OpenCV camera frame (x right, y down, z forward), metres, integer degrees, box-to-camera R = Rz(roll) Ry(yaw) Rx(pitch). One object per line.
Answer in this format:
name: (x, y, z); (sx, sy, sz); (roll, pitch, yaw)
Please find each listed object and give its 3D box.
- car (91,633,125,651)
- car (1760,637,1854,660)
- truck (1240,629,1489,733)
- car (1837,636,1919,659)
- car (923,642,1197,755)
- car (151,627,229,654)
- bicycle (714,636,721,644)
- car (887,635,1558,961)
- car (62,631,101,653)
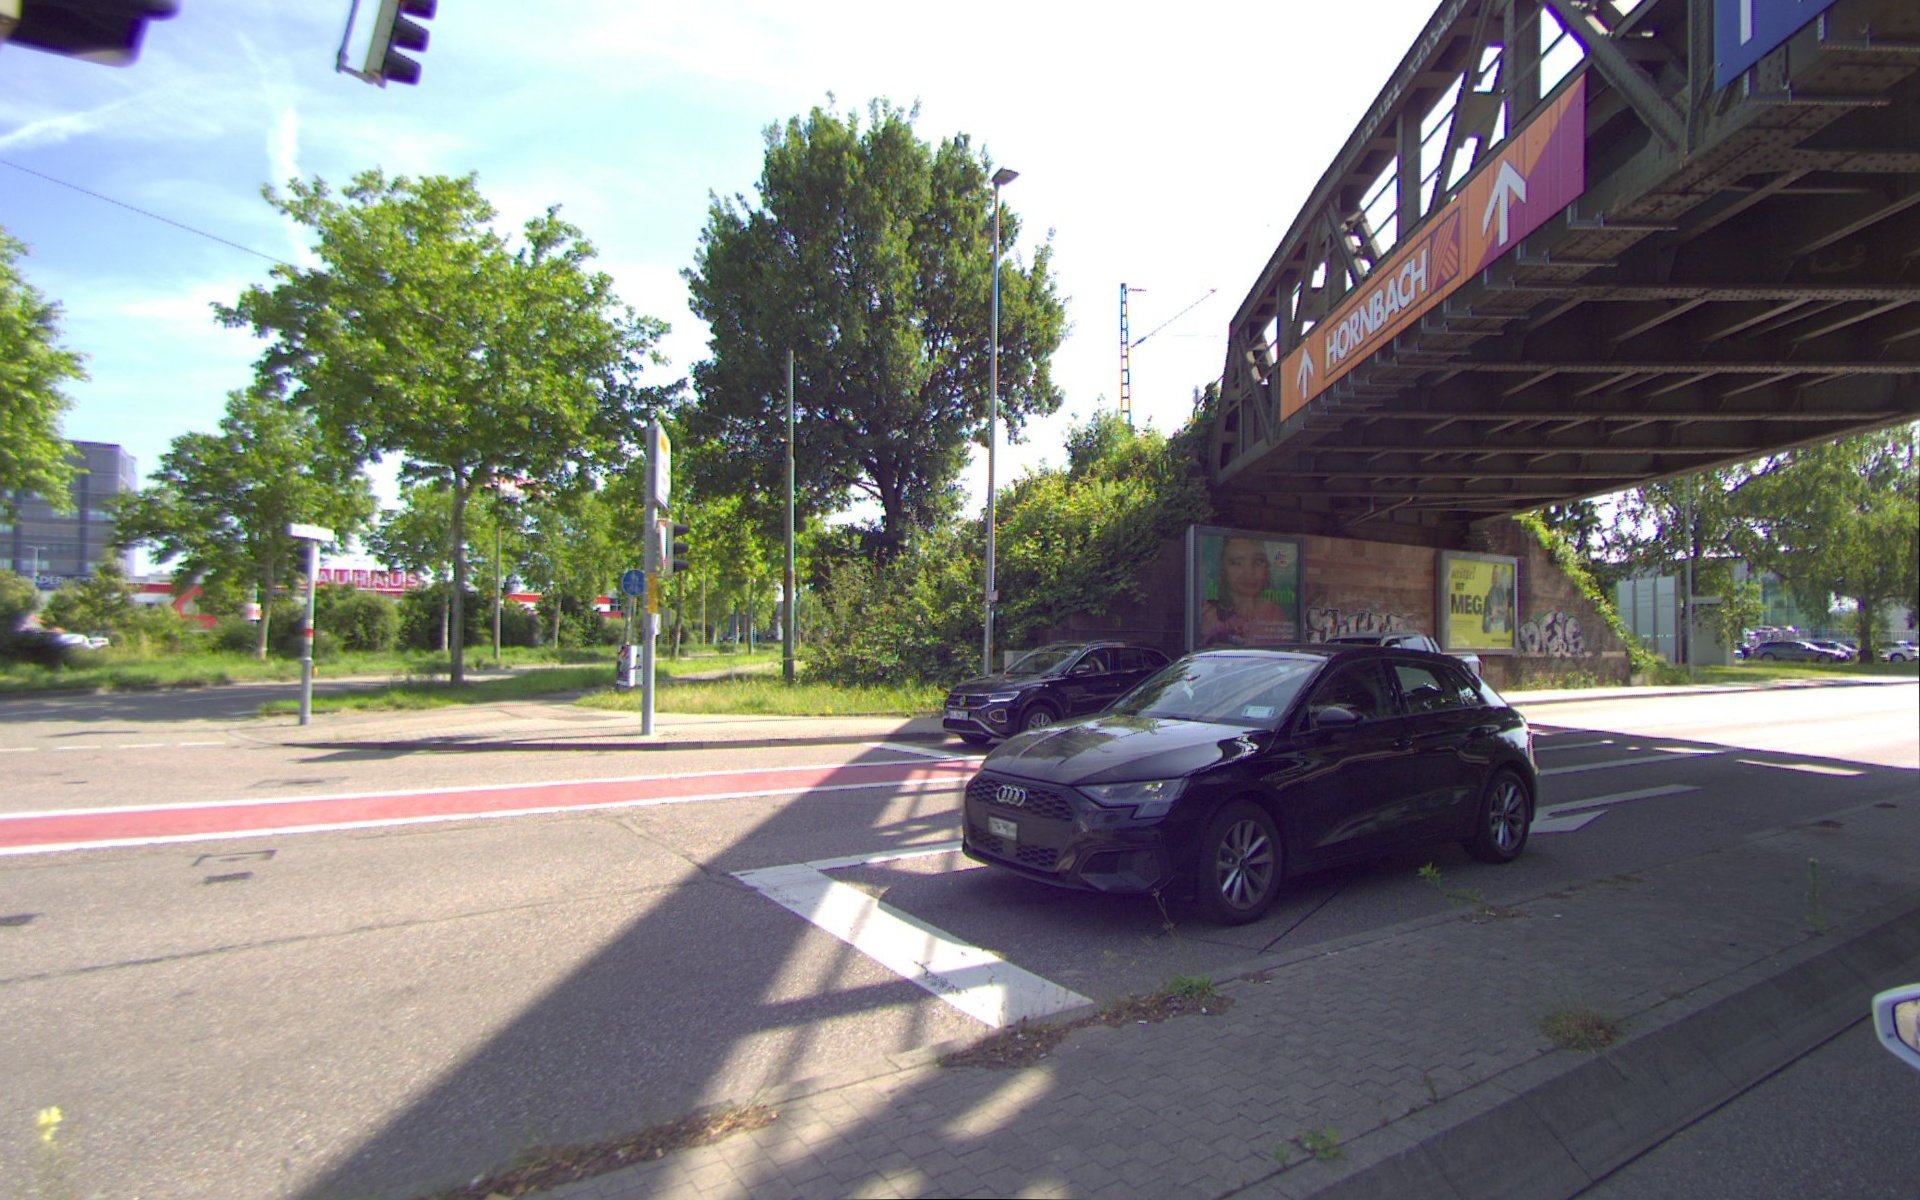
car: (-72.052, 3.502, 84.994); (1.673, 1.475, 3.962); (2, -2, -34)
car: (53.019, 3.026, 62.927); (1.983, 1.362, 4.204); (2, -2, -39)
truck: (8.209, 1.572, 20.198); (5.270, 1.843, 2.014); (2, -4, -34)
car: (65.552, 3.356, 71.738); (1.850, 1.567, 4.204); (2, -2, -39)
car: (1.561, 1.421, 15.286); (3.903, 1.500, 1.807); (2, -4, -34)
car: (-47.938, 2.505, 62.620); (3.827, 1.606, 1.830); (2, -2, -37)
bicycle: (-41.513, 6.858, 172.196); (0.674, 1.253, 1.935); (0, -2, 2)
car: (1.827, 0.955, 6.357); (4.291, 1.413, 1.755); (2, -3, -35)
car: (-65.528, 3.125, 74.984); (1.673, 1.594, 3.962); (2, -2, -34)
